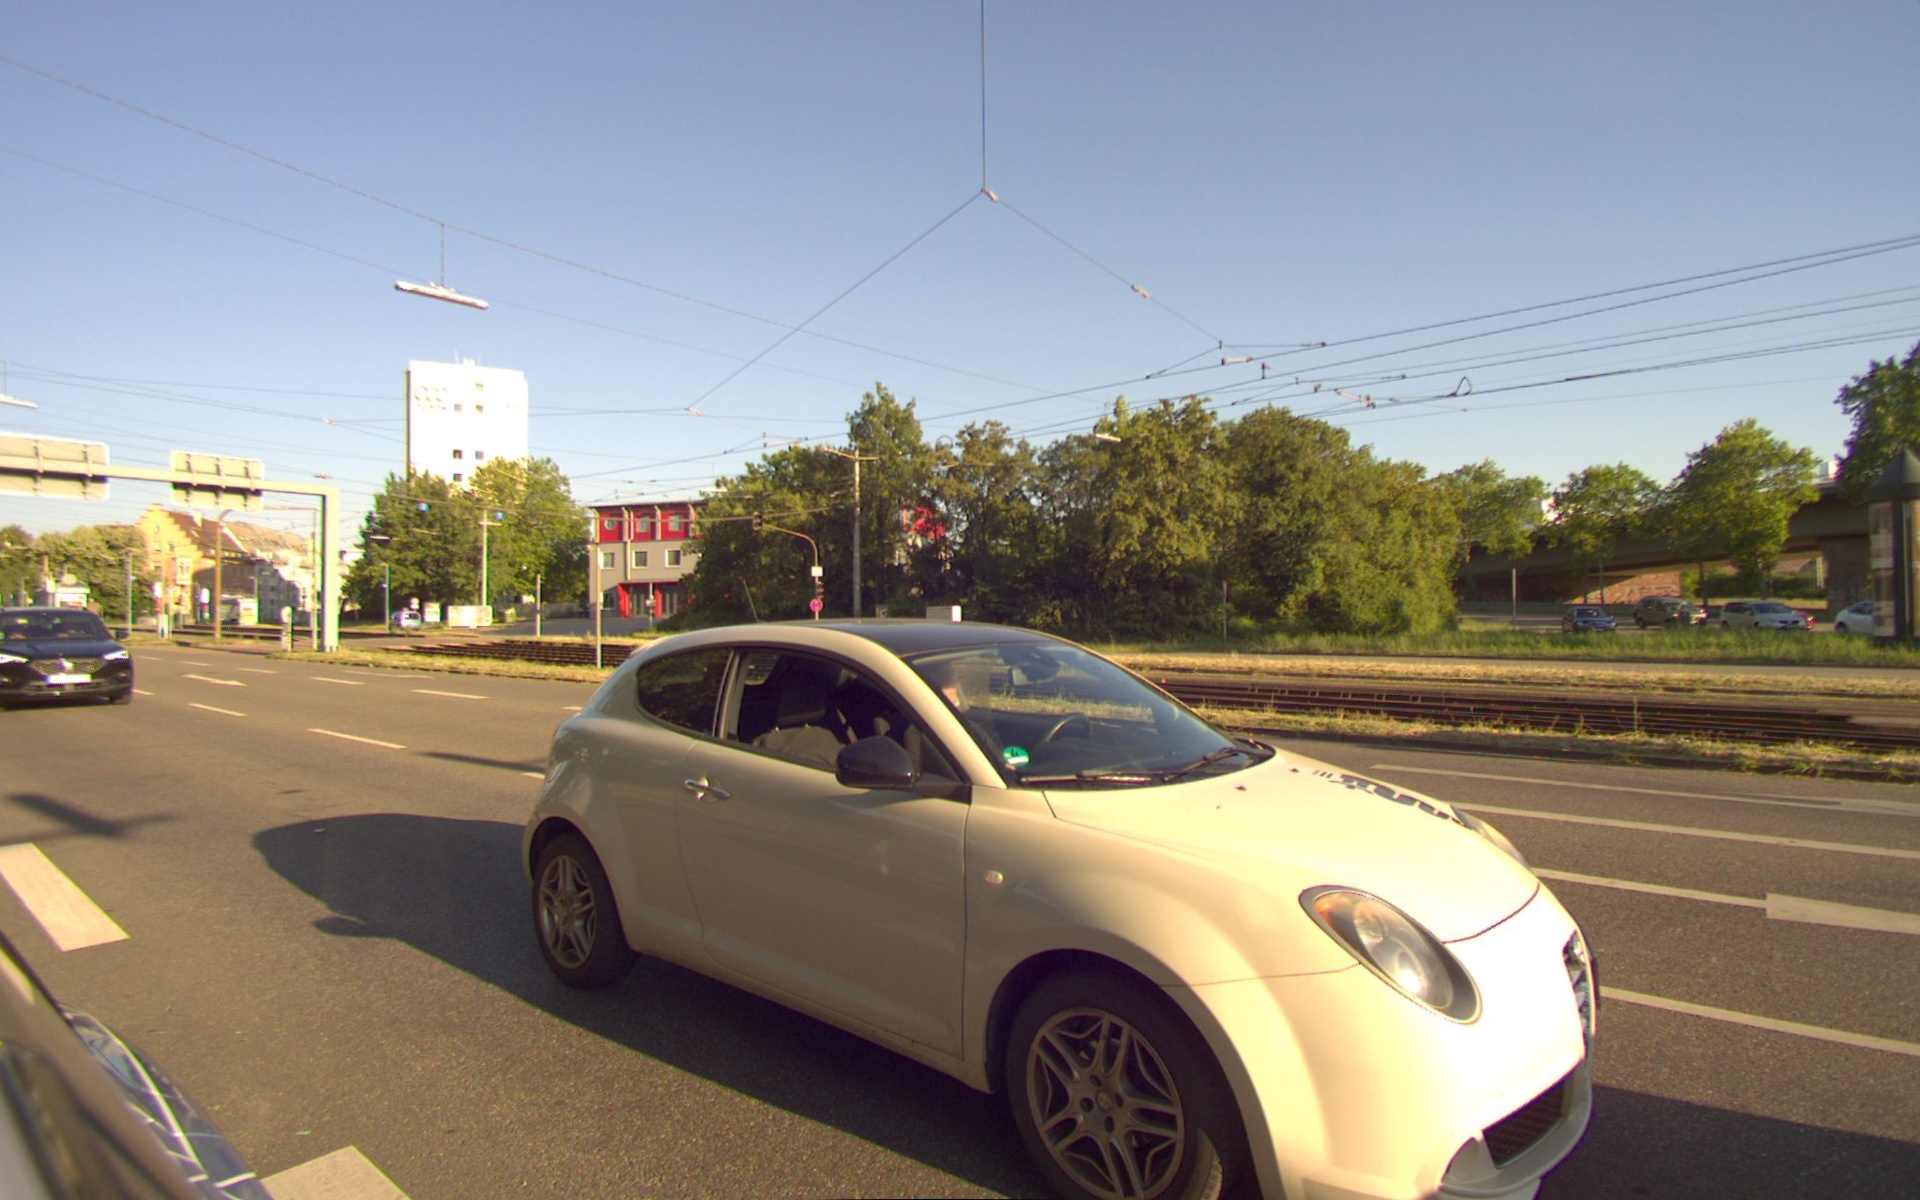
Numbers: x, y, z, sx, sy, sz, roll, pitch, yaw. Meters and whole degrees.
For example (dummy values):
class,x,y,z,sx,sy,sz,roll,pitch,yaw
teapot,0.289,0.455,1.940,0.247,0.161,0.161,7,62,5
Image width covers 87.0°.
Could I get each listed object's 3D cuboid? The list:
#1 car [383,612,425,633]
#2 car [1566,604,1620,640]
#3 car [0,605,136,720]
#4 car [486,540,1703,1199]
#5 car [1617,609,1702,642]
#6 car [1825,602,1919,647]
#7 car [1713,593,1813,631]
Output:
class,x,y,z,sx,sy,sz,roll,pitch,yaw
car,-48.035,1.943,87.380,4.259,1.801,1.912,-2,-2,43
car,32.141,1.088,51.476,1.744,1.691,4.714,-1,-1,26
car,-15.604,0.953,17.185,4.622,1.692,1.794,0,-1,42
car,0.099,0.722,3.605,3.996,1.517,1.719,-2,-2,40
car,38.162,1.345,55.326,1.671,1.691,4.410,-1,-1,3
car,35.700,0.895,38.780,1.675,1.586,4.751,-2,0,11
car,37.200,0.573,47.013,1.674,1.643,4.275,-1,-1,9
